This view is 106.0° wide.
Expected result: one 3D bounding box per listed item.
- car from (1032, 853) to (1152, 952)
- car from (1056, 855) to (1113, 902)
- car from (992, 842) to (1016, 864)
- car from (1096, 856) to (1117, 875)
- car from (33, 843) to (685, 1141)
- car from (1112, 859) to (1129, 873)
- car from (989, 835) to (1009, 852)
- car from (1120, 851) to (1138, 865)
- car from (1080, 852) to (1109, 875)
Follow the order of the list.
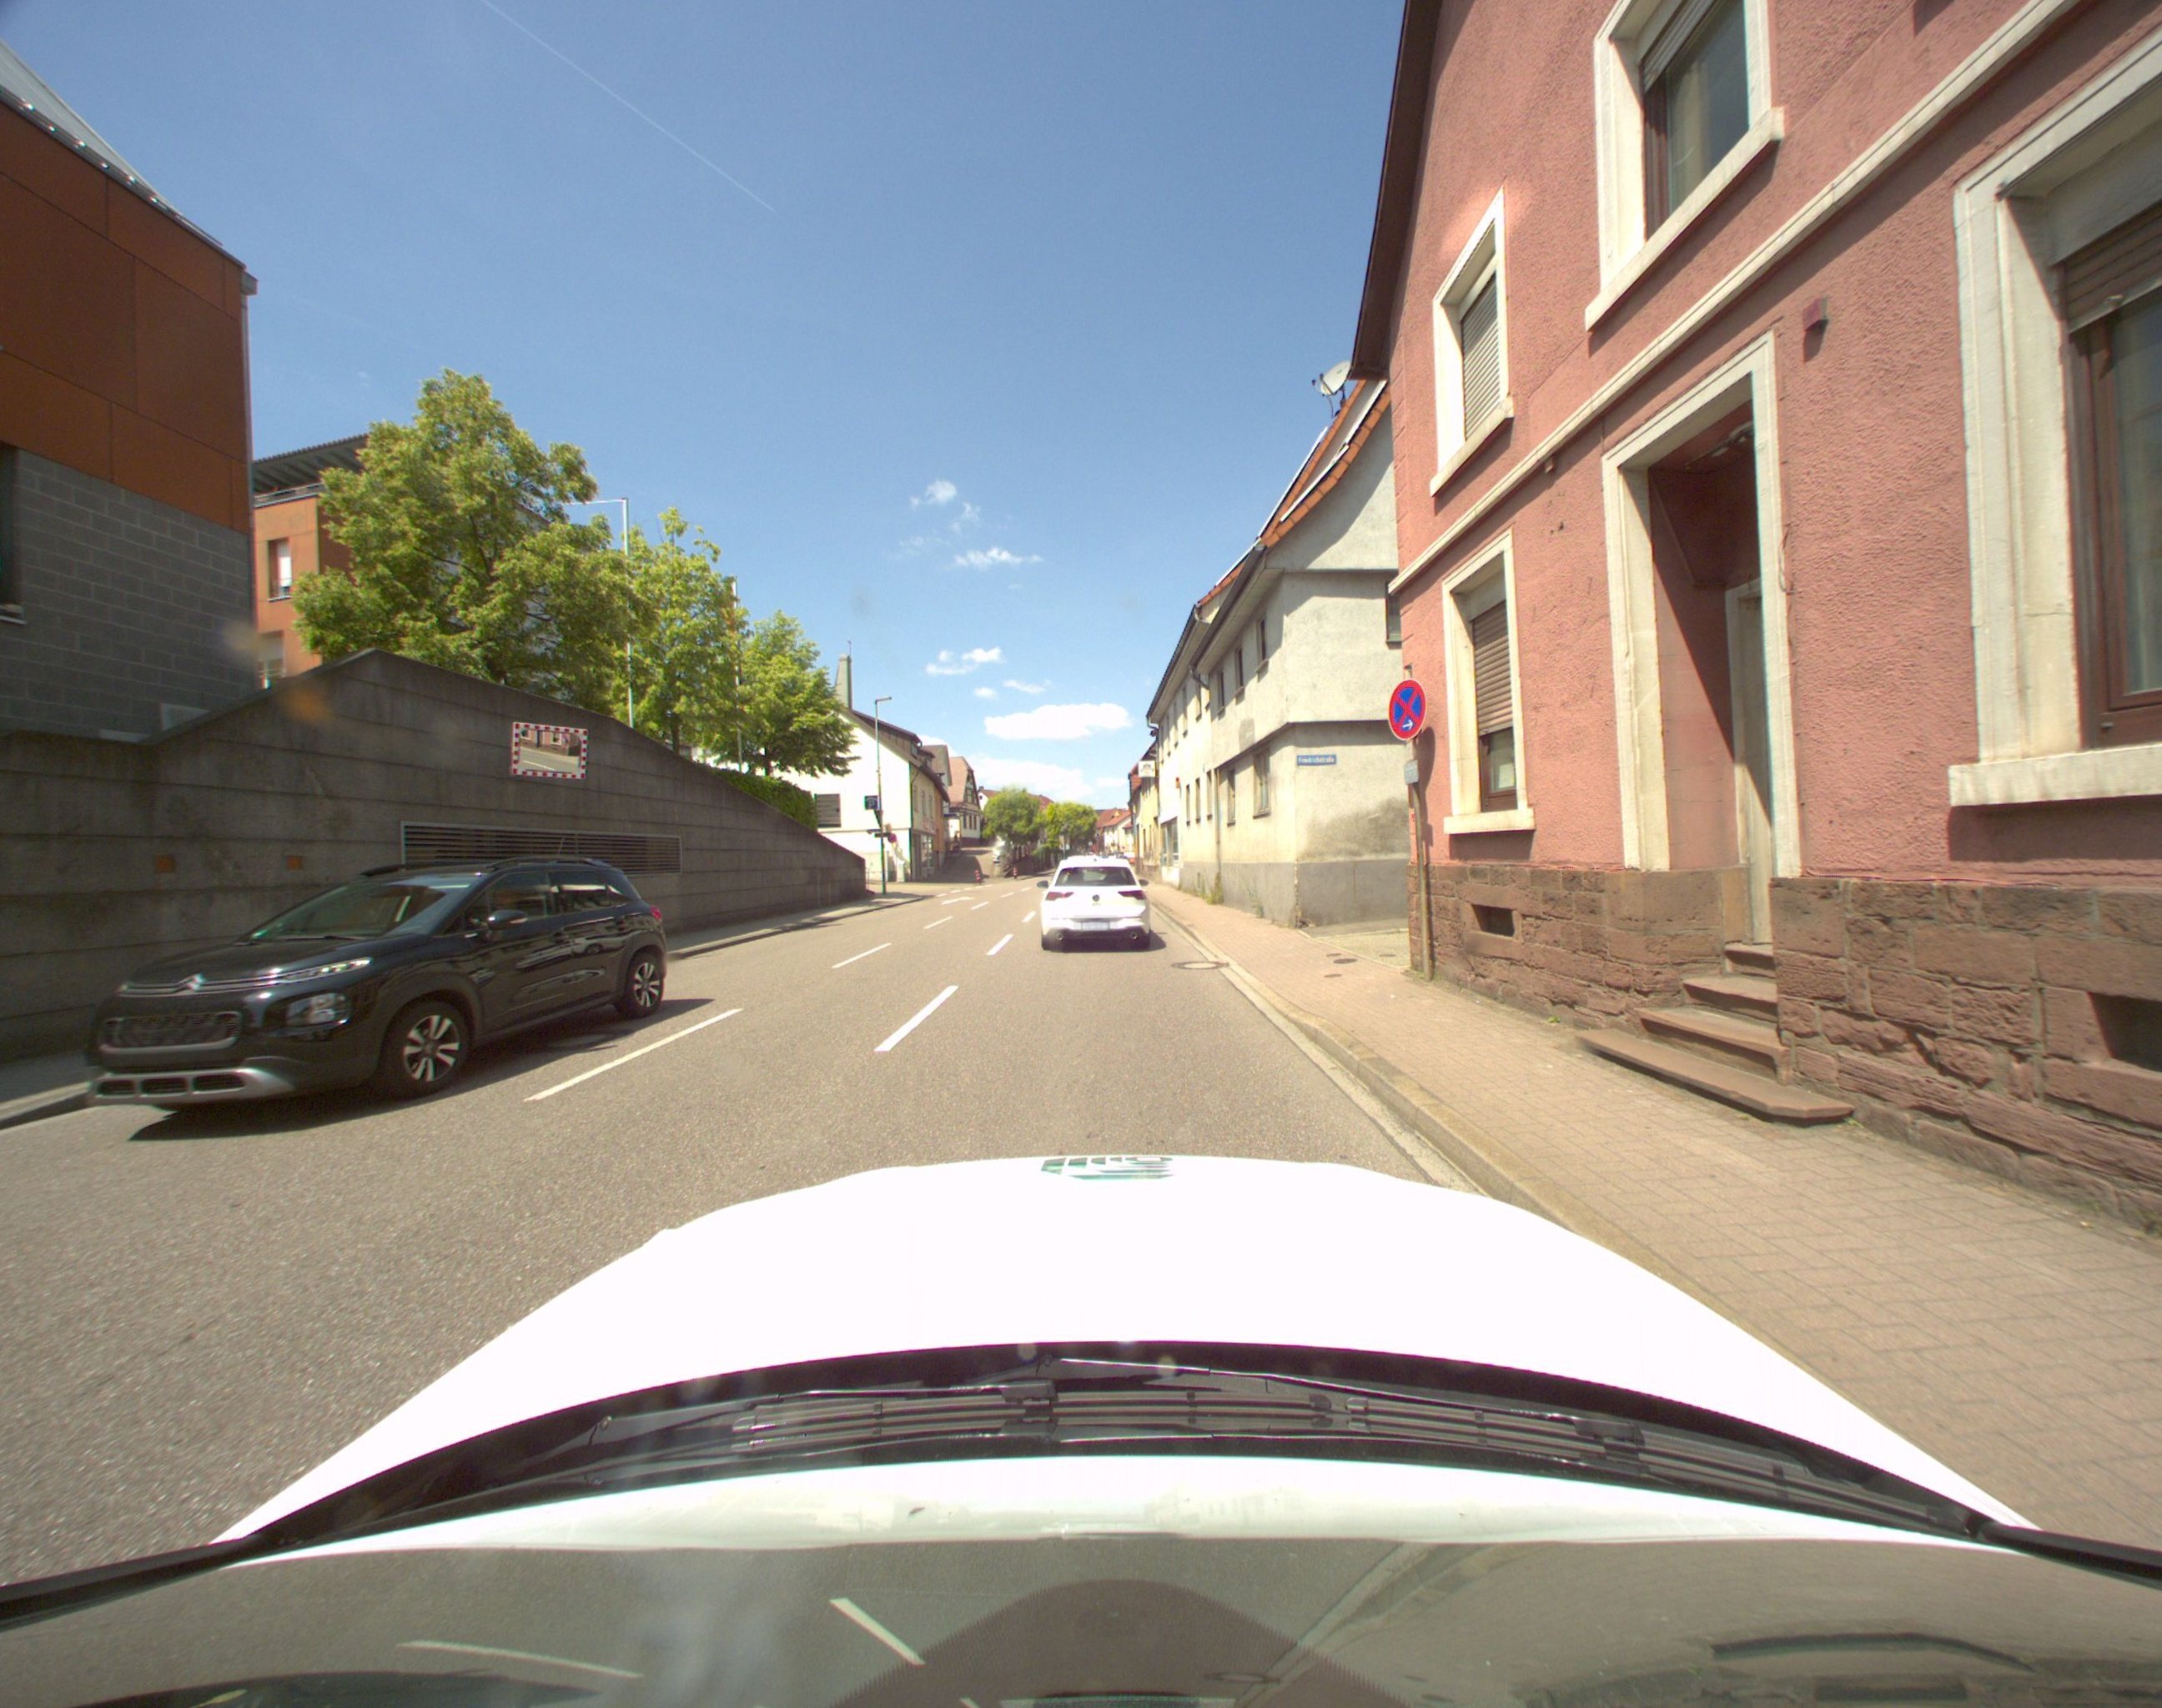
[{"bbox_3d":[0.246,0.747,14.334,1.800,1.467,4.002,-1,0,2],"label":"car"},{"bbox_3d":[0.083,0.794,28.166,1.802,1.467,3.998,-1,0,-1],"label":"car"},{"bbox_3d":[-6.779,-0.085,72.457,1.688,1.542,3.857,-2,6,0],"label":"car"},{"bbox_3d":[2.274,1.010,72.187,1.768,1.538,4.003,-2,0,3],"label":"car"},{"bbox_3d":[-5.183,0.802,6.743,1.663,1.657,4.019,-3,0,2],"label":"car"},{"bbox_3d":[4.633,1.397,95.477,1.766,1.538,4.007,-2,0,6],"label":"car"},{"bbox_3d":[-8.480,-1.138,84.723,1.571,1.361,3.857,-2,6,0],"label":"car"},{"bbox_3d":[6.592,0.574,111.332,1.763,1.765,4.014,-2,0,13],"label":"car"},{"bbox_3d":[0.967,0.630,54.868,1.800,1.467,4.002,-1,0,2],"label":"car"}]
